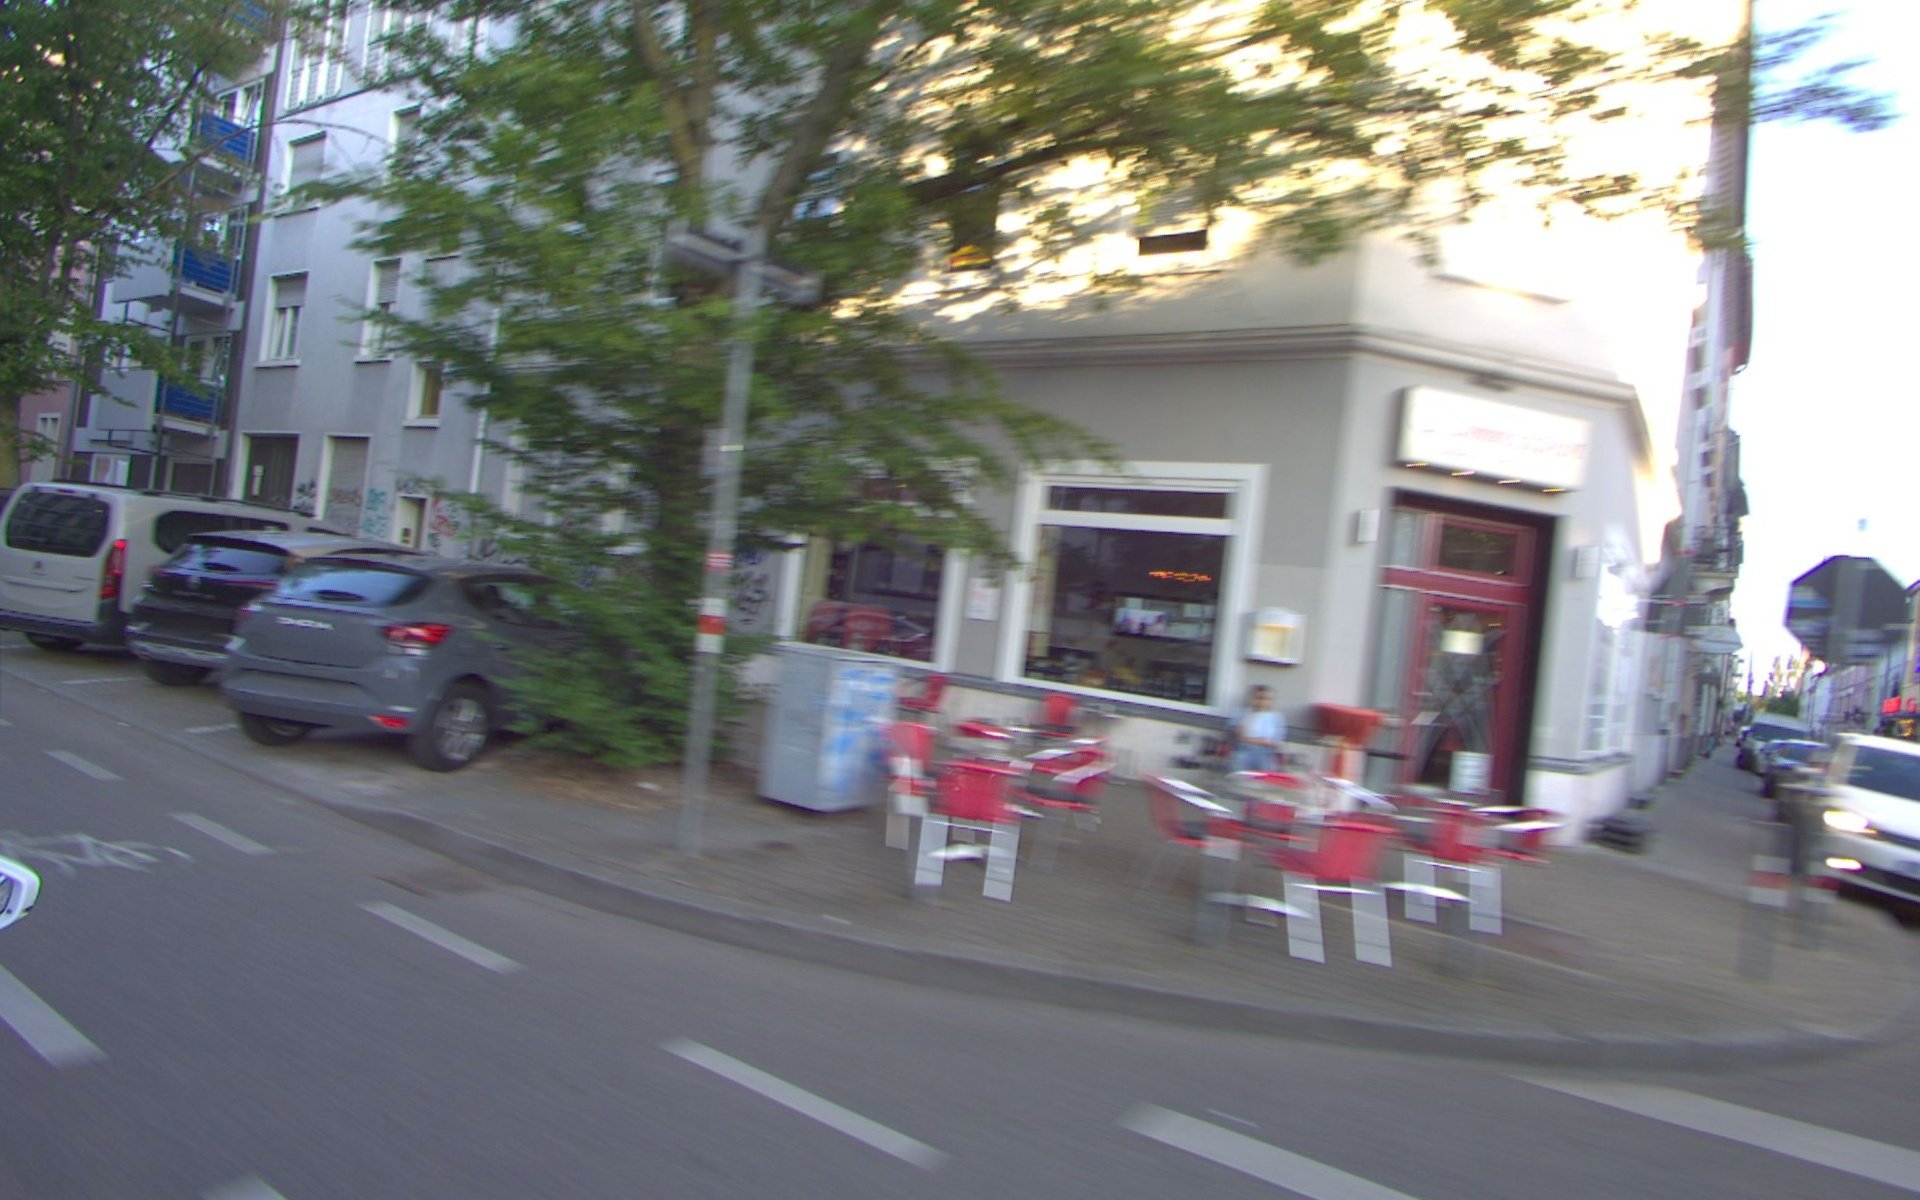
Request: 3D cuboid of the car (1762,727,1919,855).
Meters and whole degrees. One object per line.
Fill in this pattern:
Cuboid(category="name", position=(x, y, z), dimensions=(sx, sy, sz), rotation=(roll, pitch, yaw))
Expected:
Cuboid(category="car", position=(13.842, 2.881, 15.551), dimensions=(1.878, 1.593, 4.055), rotation=(2, -5, 34))

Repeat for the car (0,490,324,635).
Cuboid(category="car", position=(-11.058, -0.437, 13.653), dimensions=(1.687, 1.585, 4.003), rotation=(7, -1, 10))

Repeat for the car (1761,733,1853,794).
Cuboid(category="car", position=(26.665, 5.118, 31.793), dimensions=(1.879, 1.593, 4.053), rotation=(2, -5, 36))

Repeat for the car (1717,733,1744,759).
Cuboid(category="car", position=(99.785, 18.872, 130.382), dimensions=(2.563, 3.023, 7.190), rotation=(2, -5, 37))

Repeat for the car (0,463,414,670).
Cuboid(category="car", position=(-8.664, -0.309, 11.707), dimensions=(1.789, 1.838, 4.002), rotation=(7, 0, 11))

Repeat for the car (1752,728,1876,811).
Cuboid(category="car", position=(20.228, 3.973, 23.985), dimensions=(1.879, 1.593, 4.053), rotation=(2, -5, 36))

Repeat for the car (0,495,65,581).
Cuboid(category="car", position=(-18.527, -1.288, 17.313), dimensions=(1.687, 1.481, 4.394), rotation=(7, 0, 14))

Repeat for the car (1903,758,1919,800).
Cuboid(category="car", position=(39.630, 7.377, 40.632), dimensions=(1.637, 1.615, 3.570), rotation=(10, 0, 37))

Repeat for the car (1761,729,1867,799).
Cuboid(category="car", position=(23.691, 4.514, 28.038), dimensions=(1.879, 1.593, 4.053), rotation=(2, -5, 36))

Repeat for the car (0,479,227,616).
Cuboid(category="car", position=(-13.099, -0.779, 14.224), dimensions=(1.811, 1.717, 4.195), rotation=(7, 0, 11))

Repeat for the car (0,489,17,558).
Cuboid(category="car", position=(-23.846, -1.978, 22.271), dimensions=(1.687, 1.613, 4.002), rotation=(8, 0, 11))

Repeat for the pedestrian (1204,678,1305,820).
Cuboid(category="pedestrian", position=(2.723, 1.358, 9.357), dimensions=(0.678, 1.168, 0.652), rotation=(7, -1, 8))

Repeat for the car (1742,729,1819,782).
Cuboid(category="car", position=(29.714, 5.616, 36.552), dimensions=(1.879, 1.593, 4.053), rotation=(2, -5, 36))

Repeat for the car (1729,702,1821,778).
Cuboid(category="car", position=(33.879, 5.789, 41.973), dimensions=(2.343, 2.621, 5.026), rotation=(7, -2, 35))

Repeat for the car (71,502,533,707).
Cuboid(category="car", position=(-6.607, 0.133, 10.733), dimensions=(1.687, 1.584, 4.005), rotation=(7, -2, 10))

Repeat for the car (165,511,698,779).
Cuboid(category="car", position=(-4.081, 0.391, 8.654), dimensions=(1.745, 1.558, 4.004), rotation=(7, -2, 13))

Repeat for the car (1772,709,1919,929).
Cuboid(category="car", position=(10.080, 2.289, 10.702), dimensions=(1.878, 1.861, 4.325), rotation=(6, -3, 37))

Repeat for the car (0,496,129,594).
Cuboid(category="car", position=(-16.408, -1.032, 16.470), dimensions=(1.687, 1.481, 4.002), rotation=(7, 0, 14))
